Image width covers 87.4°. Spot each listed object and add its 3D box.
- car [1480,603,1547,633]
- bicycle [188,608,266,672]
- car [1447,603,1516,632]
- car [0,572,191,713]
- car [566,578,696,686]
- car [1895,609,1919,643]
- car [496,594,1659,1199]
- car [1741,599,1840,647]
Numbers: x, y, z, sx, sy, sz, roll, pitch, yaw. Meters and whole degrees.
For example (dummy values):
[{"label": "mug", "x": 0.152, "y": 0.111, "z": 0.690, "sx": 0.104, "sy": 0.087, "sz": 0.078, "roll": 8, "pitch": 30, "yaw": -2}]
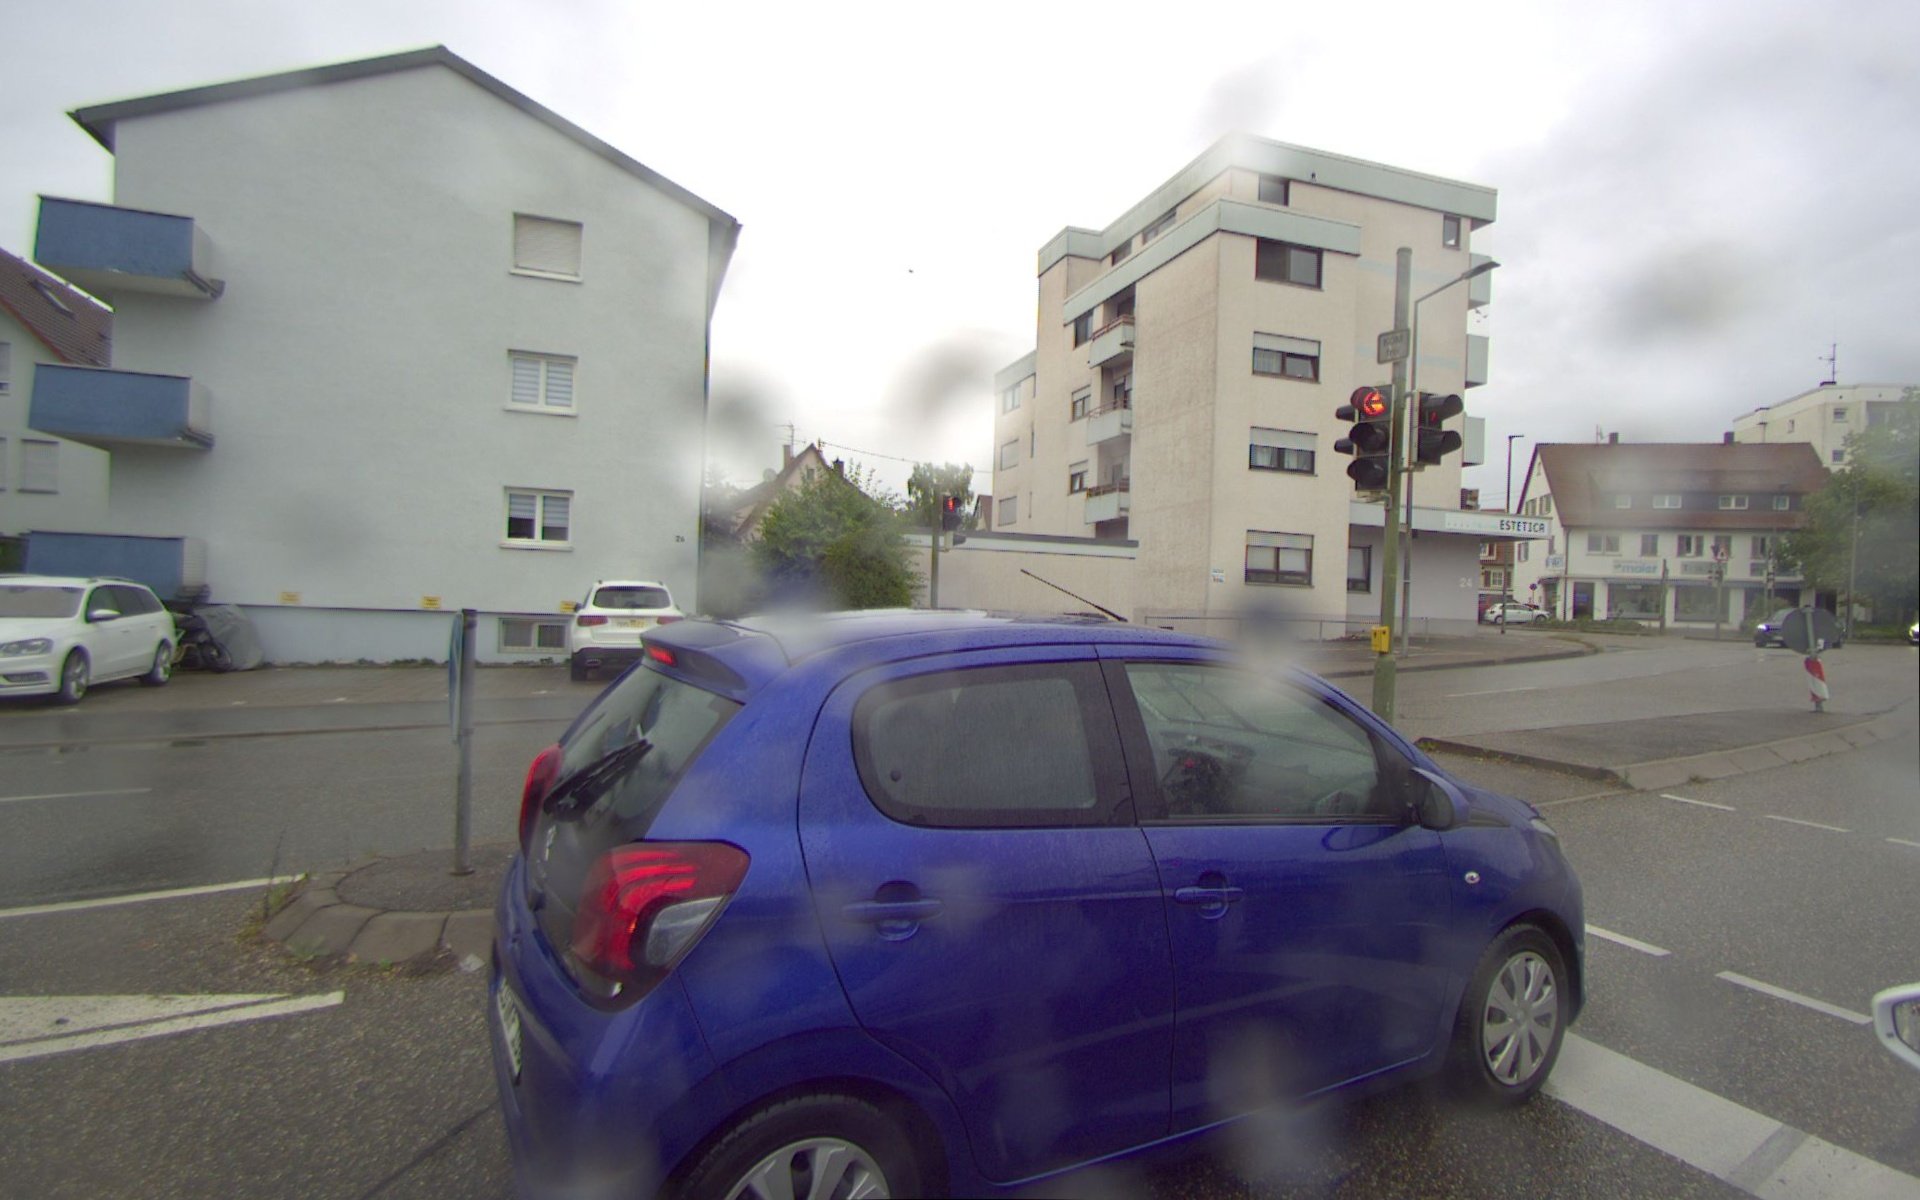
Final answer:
[{"label": "car", "x": 37.918, "y": 1.234, "z": 68.887, "sx": 3.611, "sy": 1.946, "sz": 1.889, "roll": 2, "pitch": 0, "yaw": 14}, {"label": "bicycle", "x": -12.694, "y": 0.685, "z": 17.410, "sx": 1.053, "sy": 1.067, "sz": 0.345, "roll": 0, "pitch": 1, "yaw": -30}, {"label": "car", "x": 37.210, "y": 1.239, "z": 71.718, "sx": 3.987, "sy": 1.868, "sz": 1.889, "roll": 2, "pitch": 0, "yaw": 14}, {"label": "car", "x": -11.481, "y": 0.453, "z": 12.495, "sx": 1.854, "sy": 1.480, "sz": 4.732, "roll": 1, "pitch": -1, "yaw": -23}, {"label": "car", "x": -5.763, "y": 0.506, "z": 17.565, "sx": 1.884, "sy": 1.637, "sz": 3.982, "roll": 2, "pitch": 0, "yaw": -19}, {"label": "car", "x": 45.395, "y": 1.234, "z": 46.517, "sx": 3.952, "sy": 1.532, "sz": 1.958, "roll": 2, "pitch": 0, "yaw": -29}, {"label": "car", "x": 0.469, "y": 0.733, "z": 3.090, "sx": 3.324, "sy": 1.432, "sz": 1.498, "roll": 1, "pitch": 1, "yaw": -30}, {"label": "car", "x": 31.222, "y": 0.840, "z": 37.911, "sx": 1.963, "sy": 1.646, "sz": 4.532, "roll": 2, "pitch": 0, "yaw": 28}]
